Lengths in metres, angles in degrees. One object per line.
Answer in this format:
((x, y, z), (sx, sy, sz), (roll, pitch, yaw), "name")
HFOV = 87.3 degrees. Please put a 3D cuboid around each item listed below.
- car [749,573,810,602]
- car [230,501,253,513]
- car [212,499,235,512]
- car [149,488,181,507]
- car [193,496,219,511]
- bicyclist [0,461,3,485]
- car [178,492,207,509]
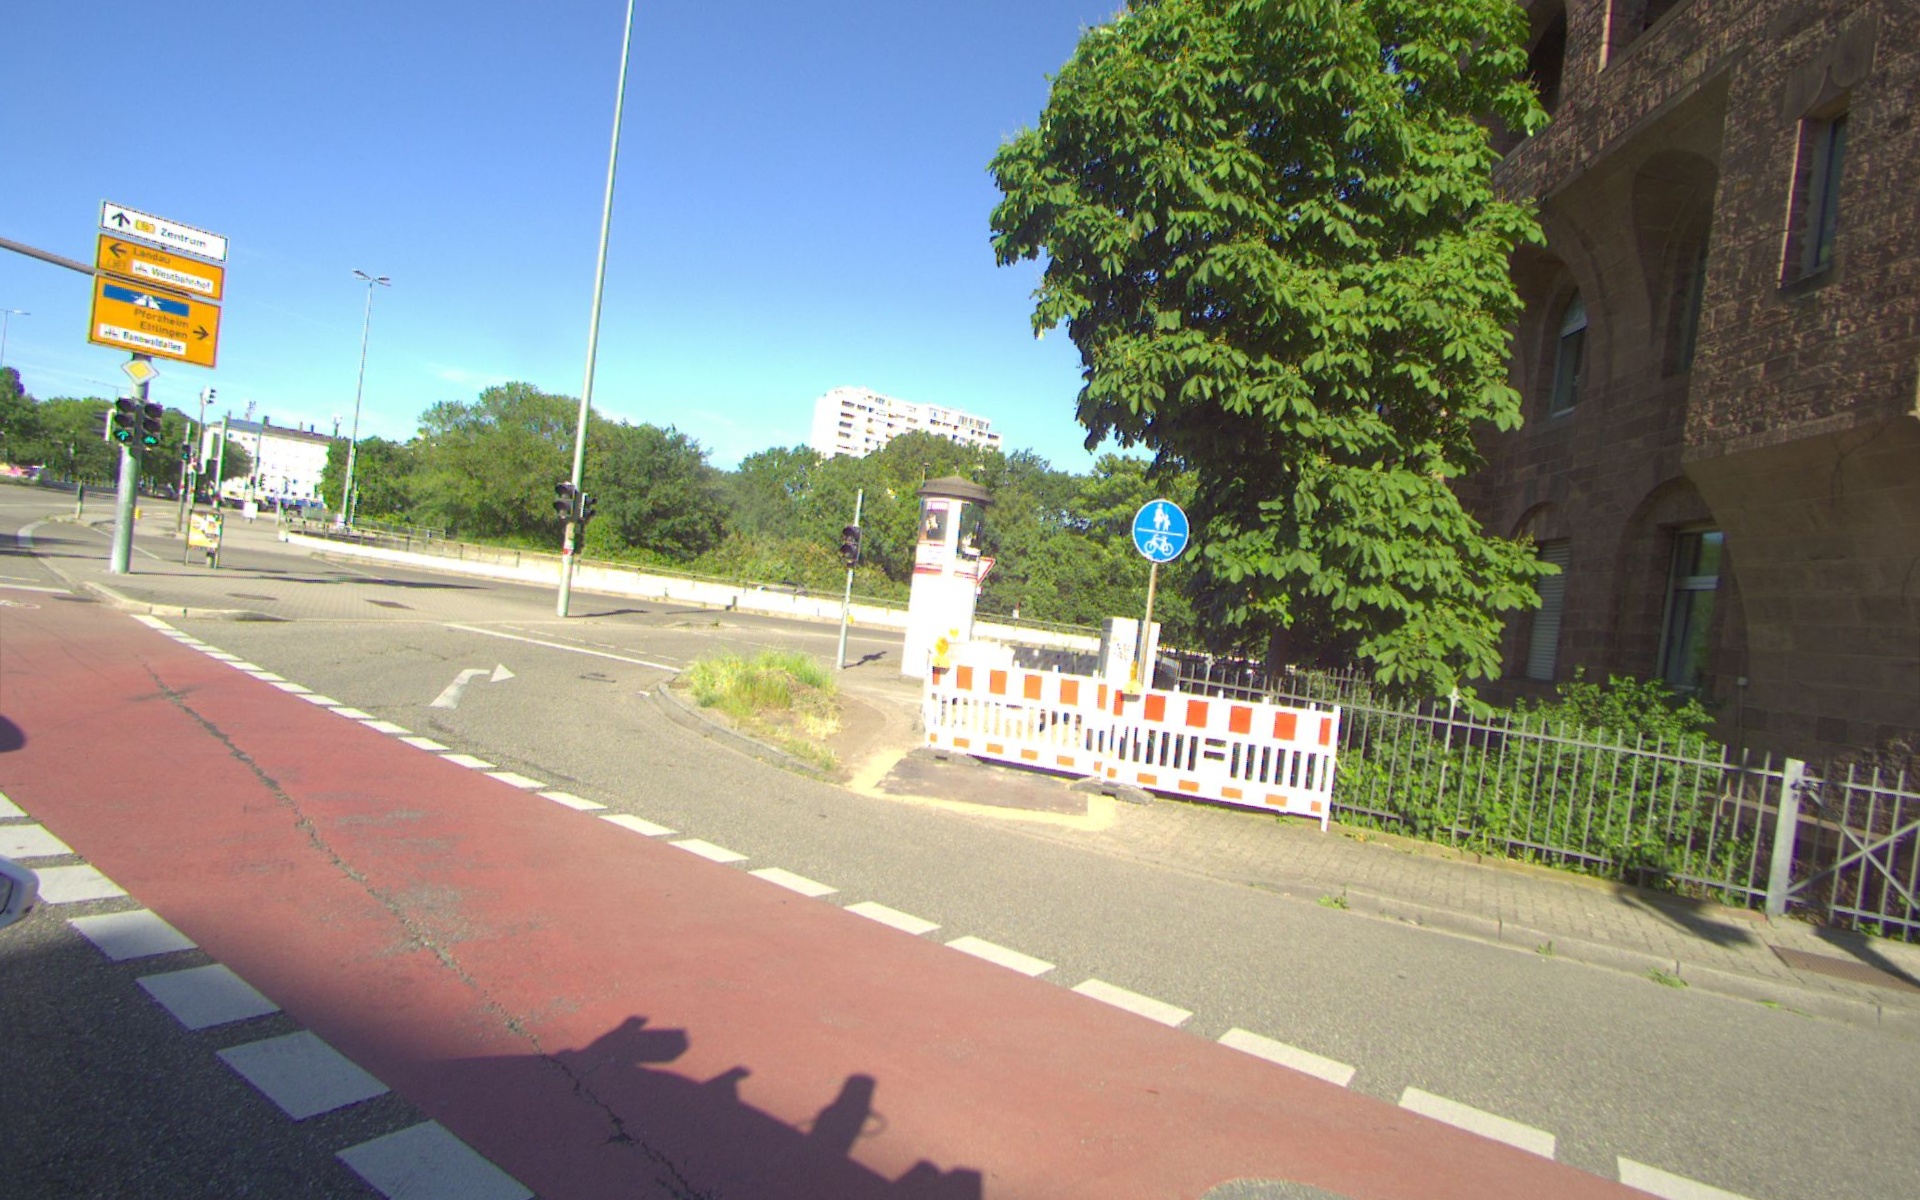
((-13.599, -0.980, 75.761), (4.187, 1.571, 1.851), (8, 1, -21), "car")
((-116.618, -15.027, 163.265), (1.925, 1.547, 4.077), (7, 0, -21), "car")
((-104.764, -13.410, 143.117), (1.930, 1.547, 4.065), (7, 0, -29), "car")
((-84.104, -10.820, 106.492), (1.931, 1.547, 4.064), (7, 0, -30), "car")
((-97.122, -12.457, 129.602), (1.930, 1.547, 4.065), (7, 0, -29), "car")
((-18.157, -1.784, 18.448), (0.722, 1.680, 1.098), (8, 1, -45), "bicyclist")
((-89.252, -11.514, 116.992), (1.930, 1.547, 4.066), (7, 0, -29), "car")
